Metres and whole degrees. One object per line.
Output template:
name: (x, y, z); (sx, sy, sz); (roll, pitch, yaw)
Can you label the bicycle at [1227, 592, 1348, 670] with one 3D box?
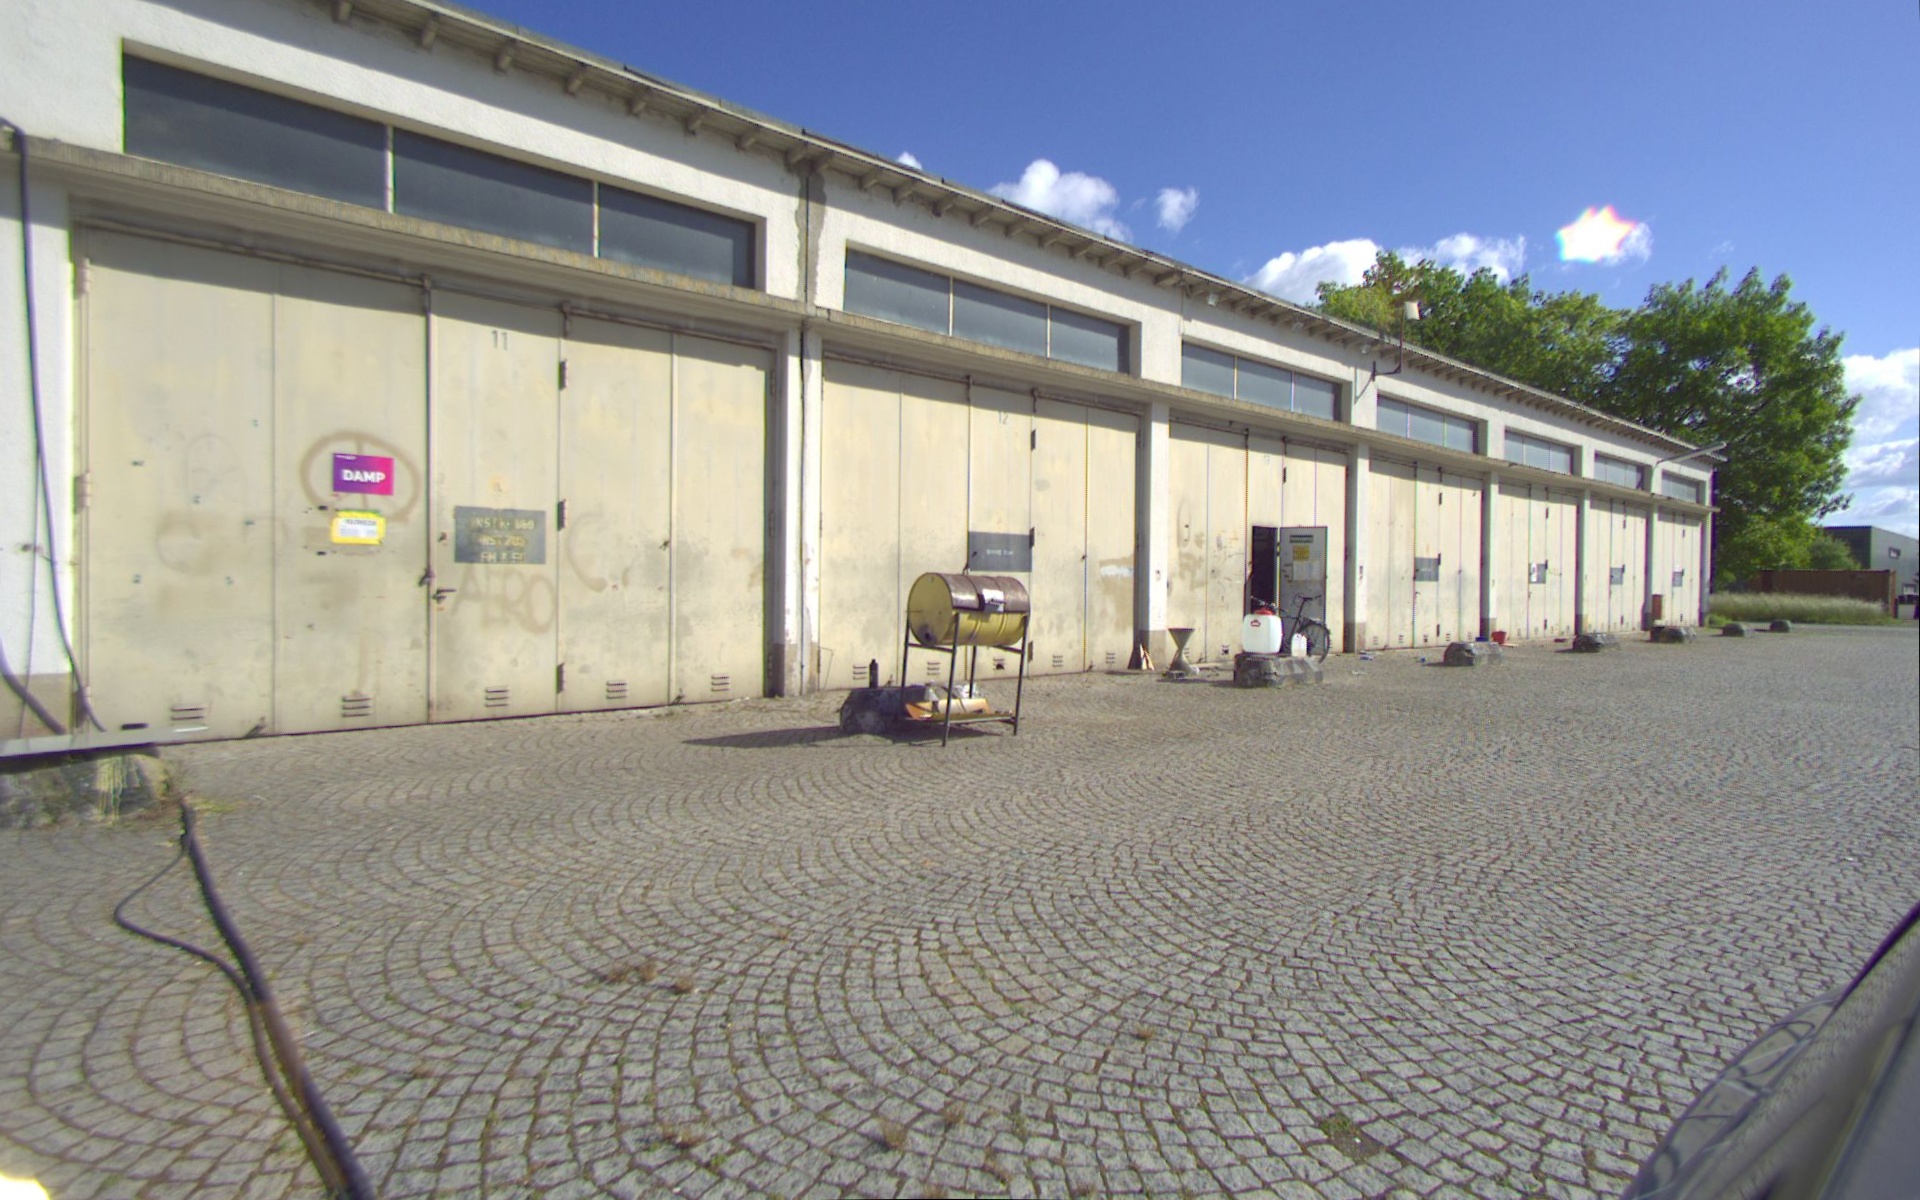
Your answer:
bicycle: (4.860, 0.434, 14.989); (1.787, 1.081, 0.667); (-1, 1, -29)
